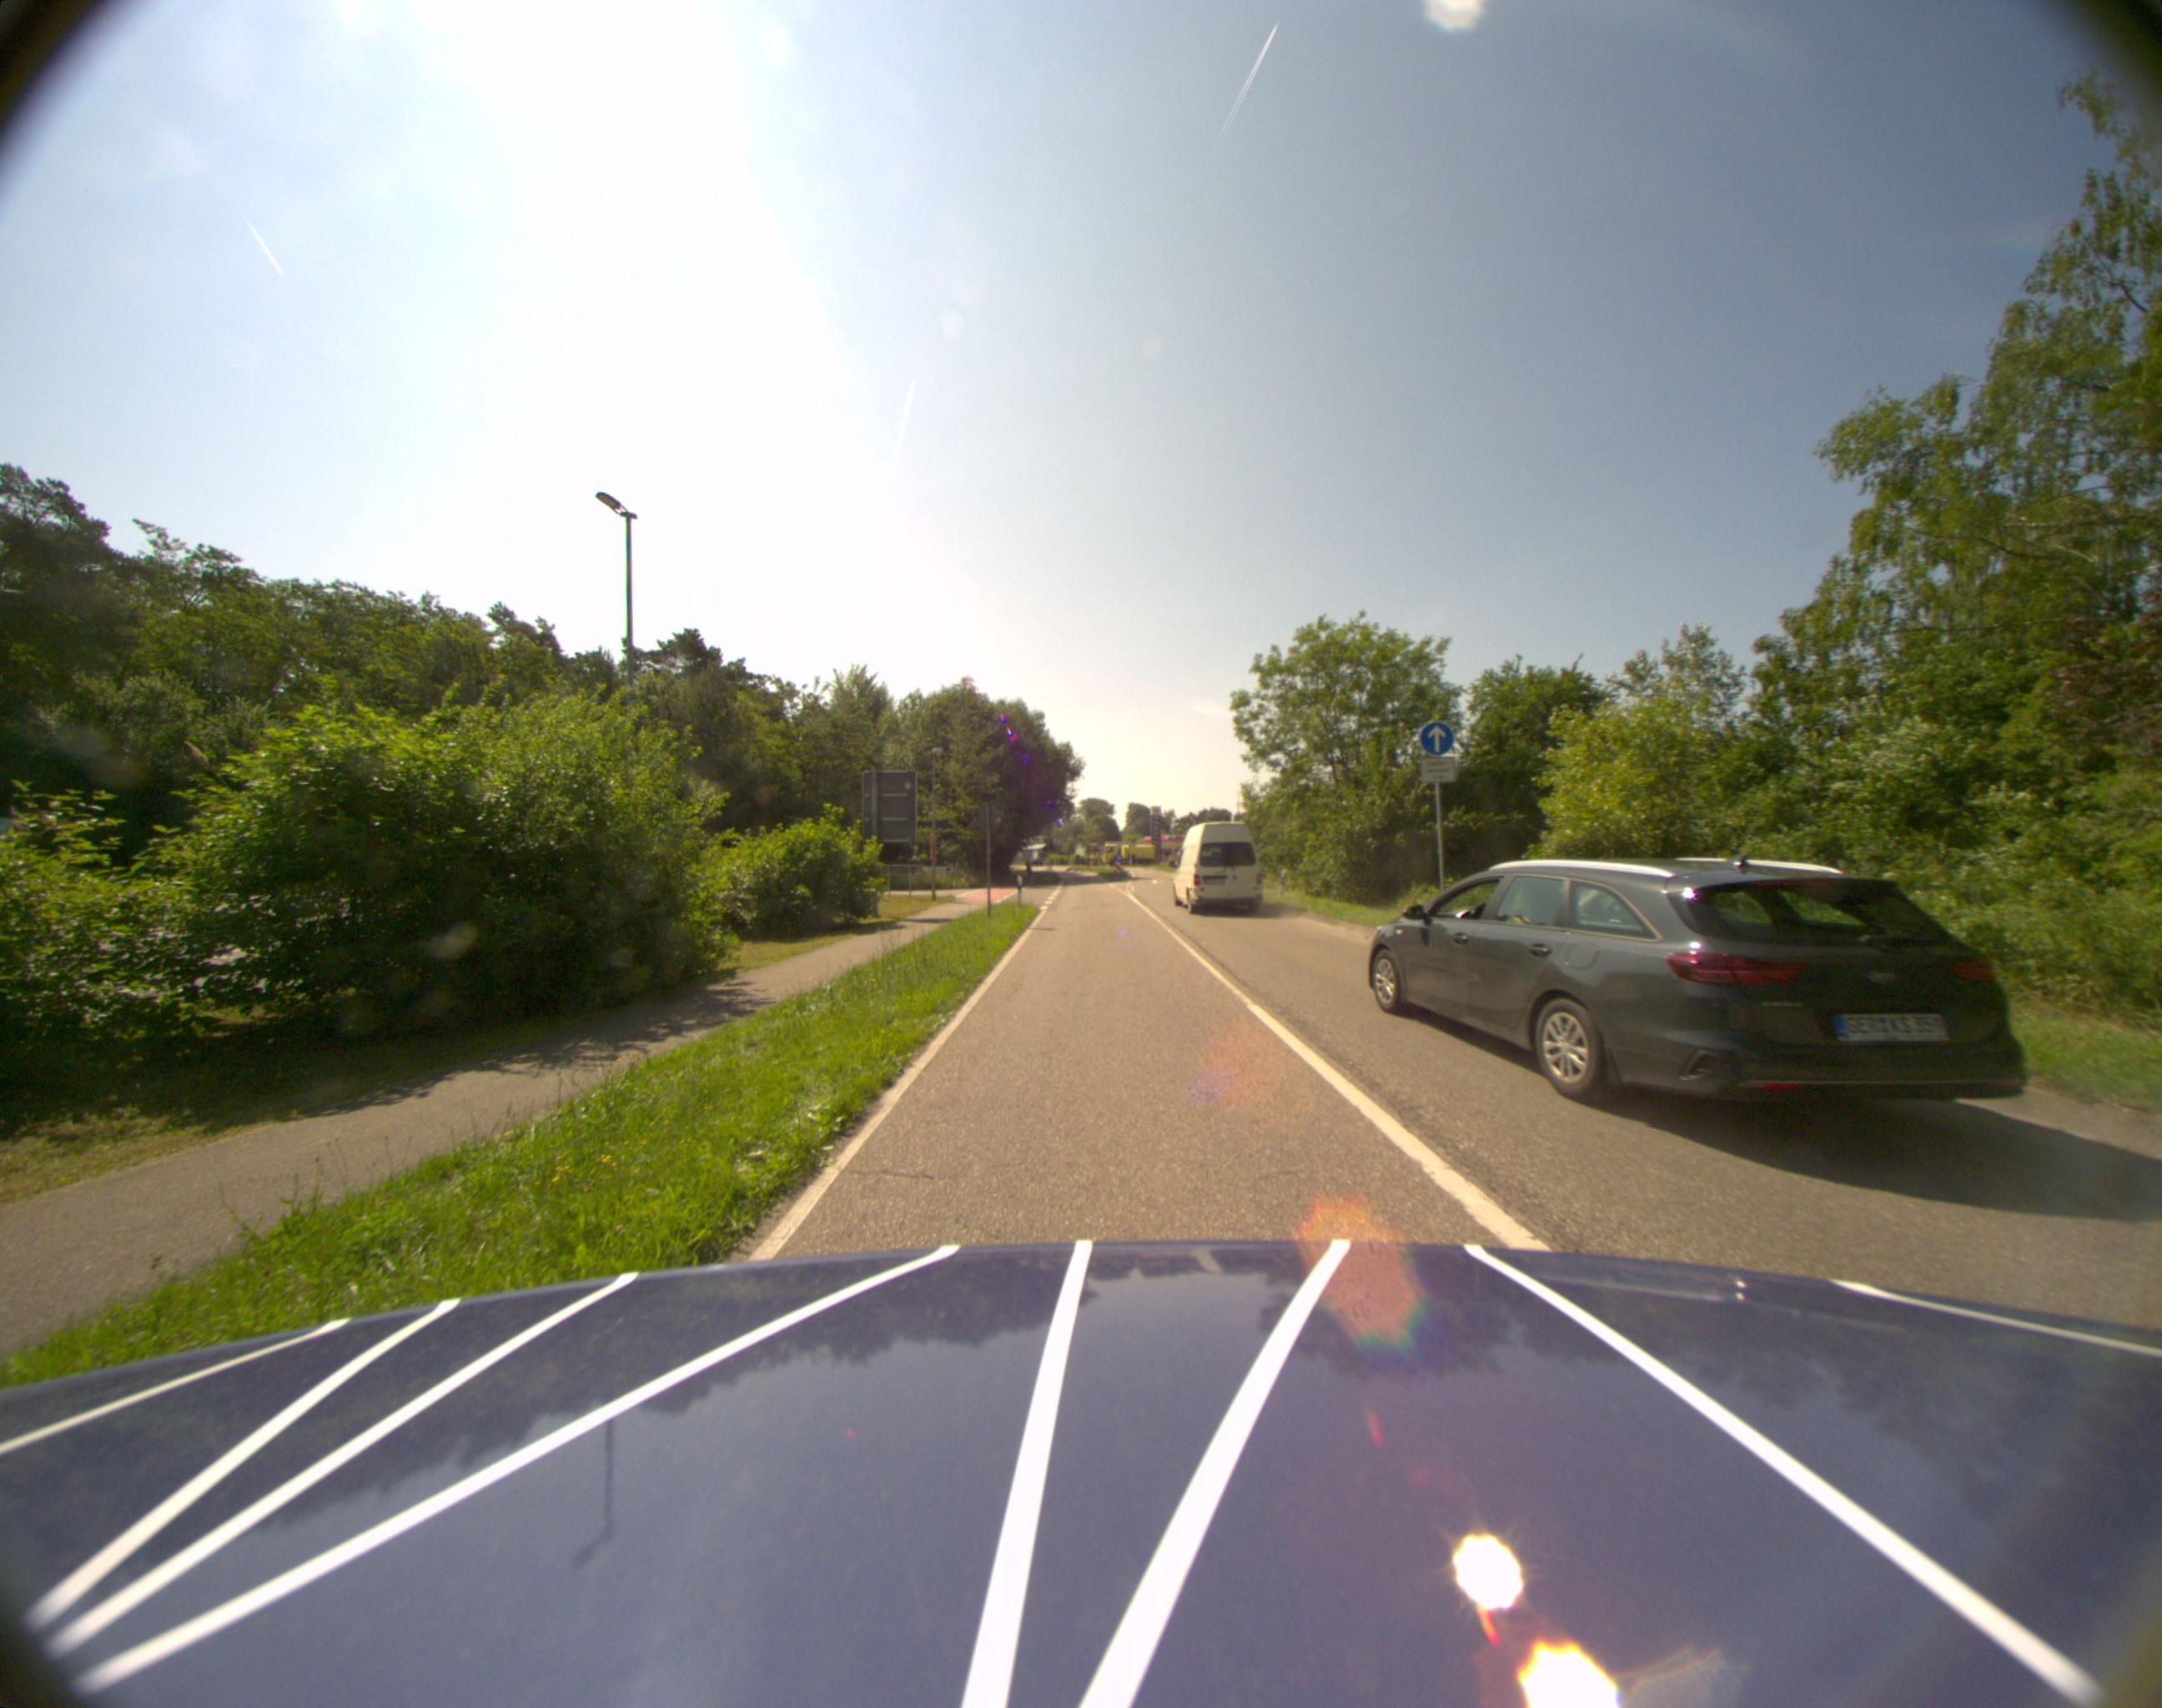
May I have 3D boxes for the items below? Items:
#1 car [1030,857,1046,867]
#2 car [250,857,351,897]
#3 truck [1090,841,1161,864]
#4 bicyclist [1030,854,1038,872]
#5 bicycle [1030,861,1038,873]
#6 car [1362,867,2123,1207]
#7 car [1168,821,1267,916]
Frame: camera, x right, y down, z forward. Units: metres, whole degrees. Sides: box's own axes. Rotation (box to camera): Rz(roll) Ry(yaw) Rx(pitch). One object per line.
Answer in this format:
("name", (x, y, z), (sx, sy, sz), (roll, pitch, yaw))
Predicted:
("car", (-7.205, 1.254, 126.833), (1.831, 1.630, 3.831), (0, 0, -17))
("car", (-32.251, 0.902, 31.526), (1.762, 1.522, 3.657), (0, 0, -26))
("truck", (6.577, -0.278, 114.418), (10.334, 3.374, 3.884), (0, 0, -1))
("bicyclist", (-4.569, 0.881, 73.318), (0.638, 1.720, 0.978), (-2, 1, 2))
("bicycle", (-4.566, 1.217, 73.261), (0.591, 1.117, 1.520), (-2, 0, 2))
("car", (3.645, 0.826, 5.420), (1.703, 1.381, 4.294), (0, 0, 0))
("car", (3.753, 0.368, 21.747), (1.917, 2.386, 4.910), (0, 0, 0))
